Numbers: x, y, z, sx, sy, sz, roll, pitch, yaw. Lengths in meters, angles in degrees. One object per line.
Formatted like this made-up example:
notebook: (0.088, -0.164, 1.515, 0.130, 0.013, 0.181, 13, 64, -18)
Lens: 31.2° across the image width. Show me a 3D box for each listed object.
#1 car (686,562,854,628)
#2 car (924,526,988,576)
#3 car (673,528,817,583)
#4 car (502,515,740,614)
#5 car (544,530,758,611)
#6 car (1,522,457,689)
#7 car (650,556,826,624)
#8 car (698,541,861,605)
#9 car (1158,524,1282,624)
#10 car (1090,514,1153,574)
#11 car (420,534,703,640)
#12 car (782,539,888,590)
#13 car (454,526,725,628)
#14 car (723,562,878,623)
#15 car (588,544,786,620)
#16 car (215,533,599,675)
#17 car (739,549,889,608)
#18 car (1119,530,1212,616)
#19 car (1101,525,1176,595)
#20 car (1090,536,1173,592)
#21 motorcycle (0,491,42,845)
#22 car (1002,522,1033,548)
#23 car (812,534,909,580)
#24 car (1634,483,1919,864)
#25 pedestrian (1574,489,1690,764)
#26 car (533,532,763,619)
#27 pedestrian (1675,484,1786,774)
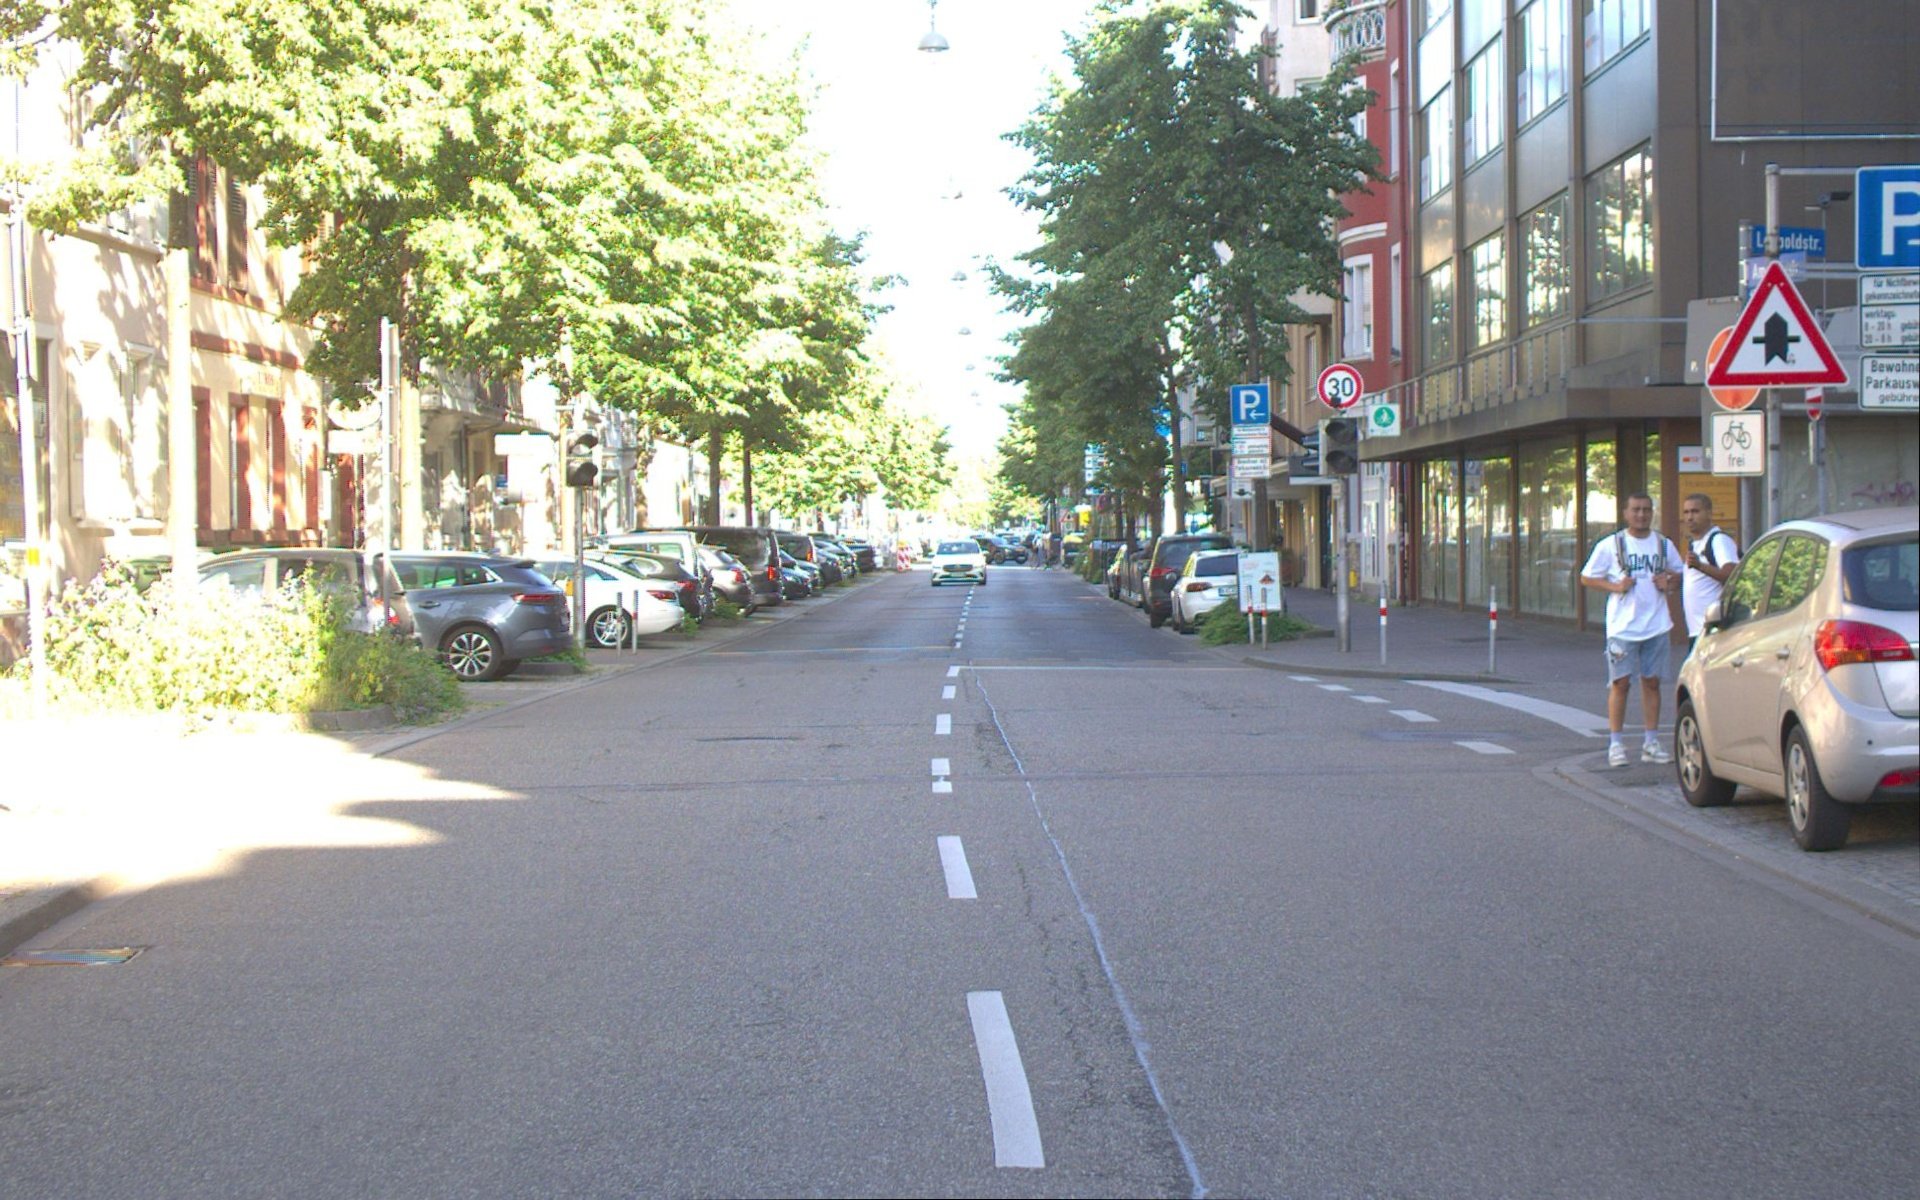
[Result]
car: (-4.807, -0.134, 87.402, 3.987, 1.503, 2.000, 2, 0, 4)
car: (-0.113, -1.625, 114.749, 1.993, 1.550, 4.000, 1, 0, 1)
car: (-6.430, -1.327, 103.125, 3.988, 1.503, 2.000, 2, 0, 5)
car: (-6.052, -0.640, 61.712, 3.987, 1.668, 2.089, 1, 0, 2)
car: (-6.083, -0.575, 67.919, 3.987, 1.503, 1.894, 1, 0, 2)
car: (-7.097, 0.044, 33.687, 3.987, 1.503, 2.000, 1, 0, 2)
car: (-5.413, -0.244, 84.119, 3.987, 1.503, 2.000, 2, 0, 4)
car: (-4.687, -0.694, 89.766, 3.987, 1.503, 2.000, 2, 0, 4)
car: (4.428, -0.431, 59.082, 1.994, 1.612, 4.010, 1, 0, 3)
car: (5.588, -1.936, 119.162, 1.993, 2.007, 4.000, 0, 1, 0)
car: (-6.002, -0.198, 52.107, 3.987, 1.503, 2.000, 1, 0, 2)
car: (-5.119, -1.462, 141.231, 3.989, 2.007, 1.999, 1, 1, 11)
car: (-5.804, -0.365, 54.190, 3.987, 1.503, 2.000, 1, 0, 2)
car: (-4.360, -0.212, 94.208, 3.987, 1.503, 2.000, 2, 0, 4)
car: (-5.733, -0.376, 72.537, 3.987, 1.503, 2.000, 1, 0, 1)
car: (-6.248, 0.037, 39.135, 3.987, 1.503, 2.000, 1, 0, 2)
car: (-4.109, -0.618, 97.337, 3.987, 1.503, 2.000, 2, 0, 4)
car: (4.945, -0.646, 83.323, 1.993, 2.007, 4.000, 1, 0, 0)
car: (5.272, -1.195, 102.039, 1.993, 2.007, 4.000, -1, 1, 0)
car: (4.539, -0.968, 91.501, 1.993, 1.448, 4.000, 0, 1, 0)
motorcycle: (-5.560, 0.323, 15.723, 2.474, 1.599, 0.999, -1, 1, 19)
car: (3.667, -4.104, 218.312, 1.870, 1.550, 4.000, 1, 0, 1)
car: (-4.454, -1.920, 154.401, 3.989, 2.007, 1.999, 1, 1, 11)
car: (4.871, 0.337, 17.551, 1.899, 1.669, 4.825, 1, 0, 0)
pedestrian: (4.315, 0.167, 22.100, 0.614, 1.729, 0.634, 1, 0, 2)
car: (-5.719, -0.448, 63.330, 3.987, 1.503, 2.000, 1, 0, 2)
pedestrian: (4.800, 0.176, 21.453, 0.512, 1.774, 0.612, 1, 0, -1)
